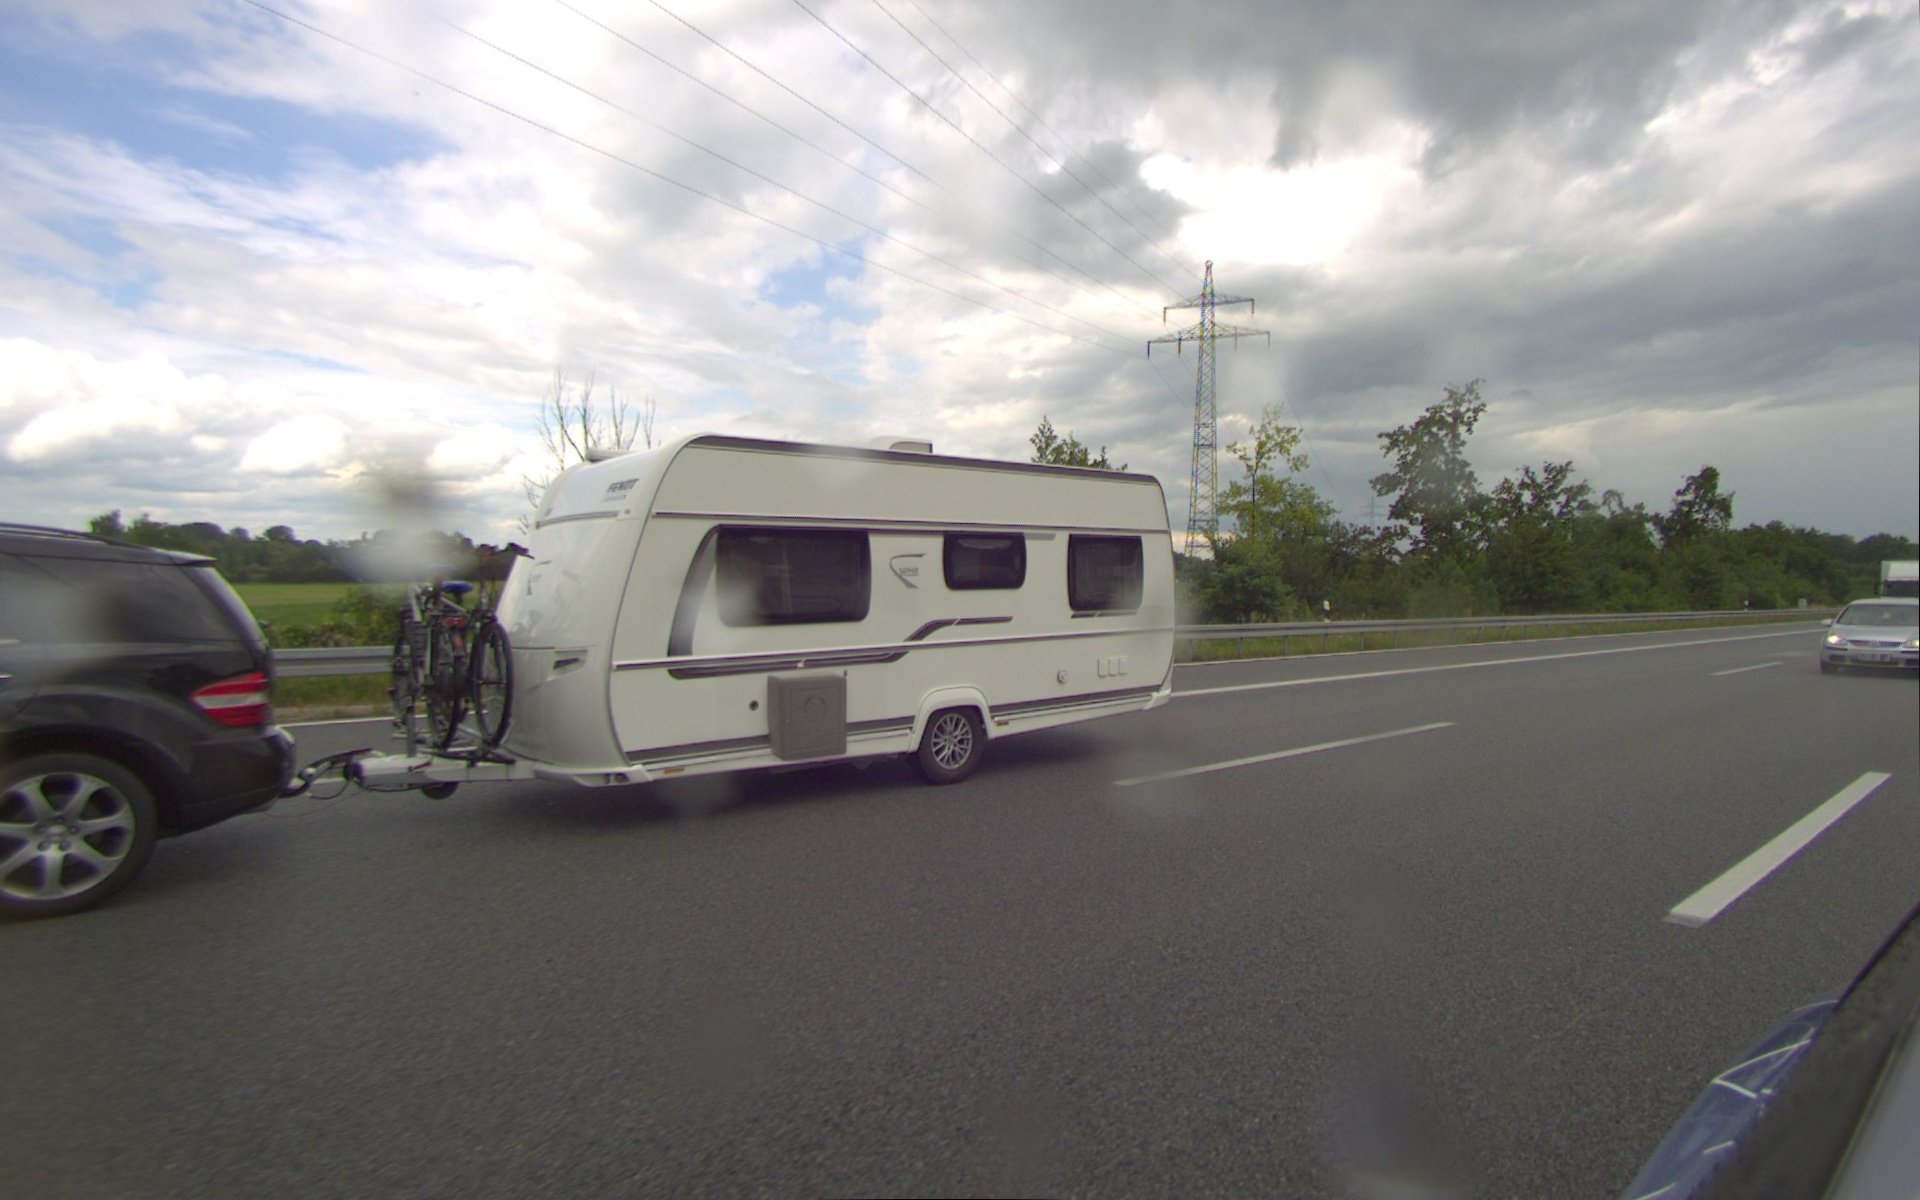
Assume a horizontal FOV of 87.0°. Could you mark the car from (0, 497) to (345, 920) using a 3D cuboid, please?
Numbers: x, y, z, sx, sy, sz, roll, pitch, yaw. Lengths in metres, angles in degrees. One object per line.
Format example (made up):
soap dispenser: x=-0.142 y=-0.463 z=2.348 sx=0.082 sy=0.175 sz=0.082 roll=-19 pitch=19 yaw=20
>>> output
car: x=-5.406 y=0.462 z=4.391 sx=4.425 sy=1.798 sz=1.923 roll=-1 pitch=1 yaw=-42

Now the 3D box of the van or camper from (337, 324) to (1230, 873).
van or camper: x=-0.828 y=-0.047 z=8.367 sx=7.084 sy=2.773 sz=2.388 roll=-1 pitch=0 yaw=-41

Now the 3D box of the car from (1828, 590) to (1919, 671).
car: x=18.691 y=0.536 z=20.025 sx=3.929 sy=1.464 sz=1.682 roll=-1 pitch=1 yaw=-40

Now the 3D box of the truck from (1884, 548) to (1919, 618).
truck: x=54.082 y=-0.950 z=56.191 sx=9.424 sy=3.700 sz=2.868 roll=-1 pitch=0 yaw=-40
